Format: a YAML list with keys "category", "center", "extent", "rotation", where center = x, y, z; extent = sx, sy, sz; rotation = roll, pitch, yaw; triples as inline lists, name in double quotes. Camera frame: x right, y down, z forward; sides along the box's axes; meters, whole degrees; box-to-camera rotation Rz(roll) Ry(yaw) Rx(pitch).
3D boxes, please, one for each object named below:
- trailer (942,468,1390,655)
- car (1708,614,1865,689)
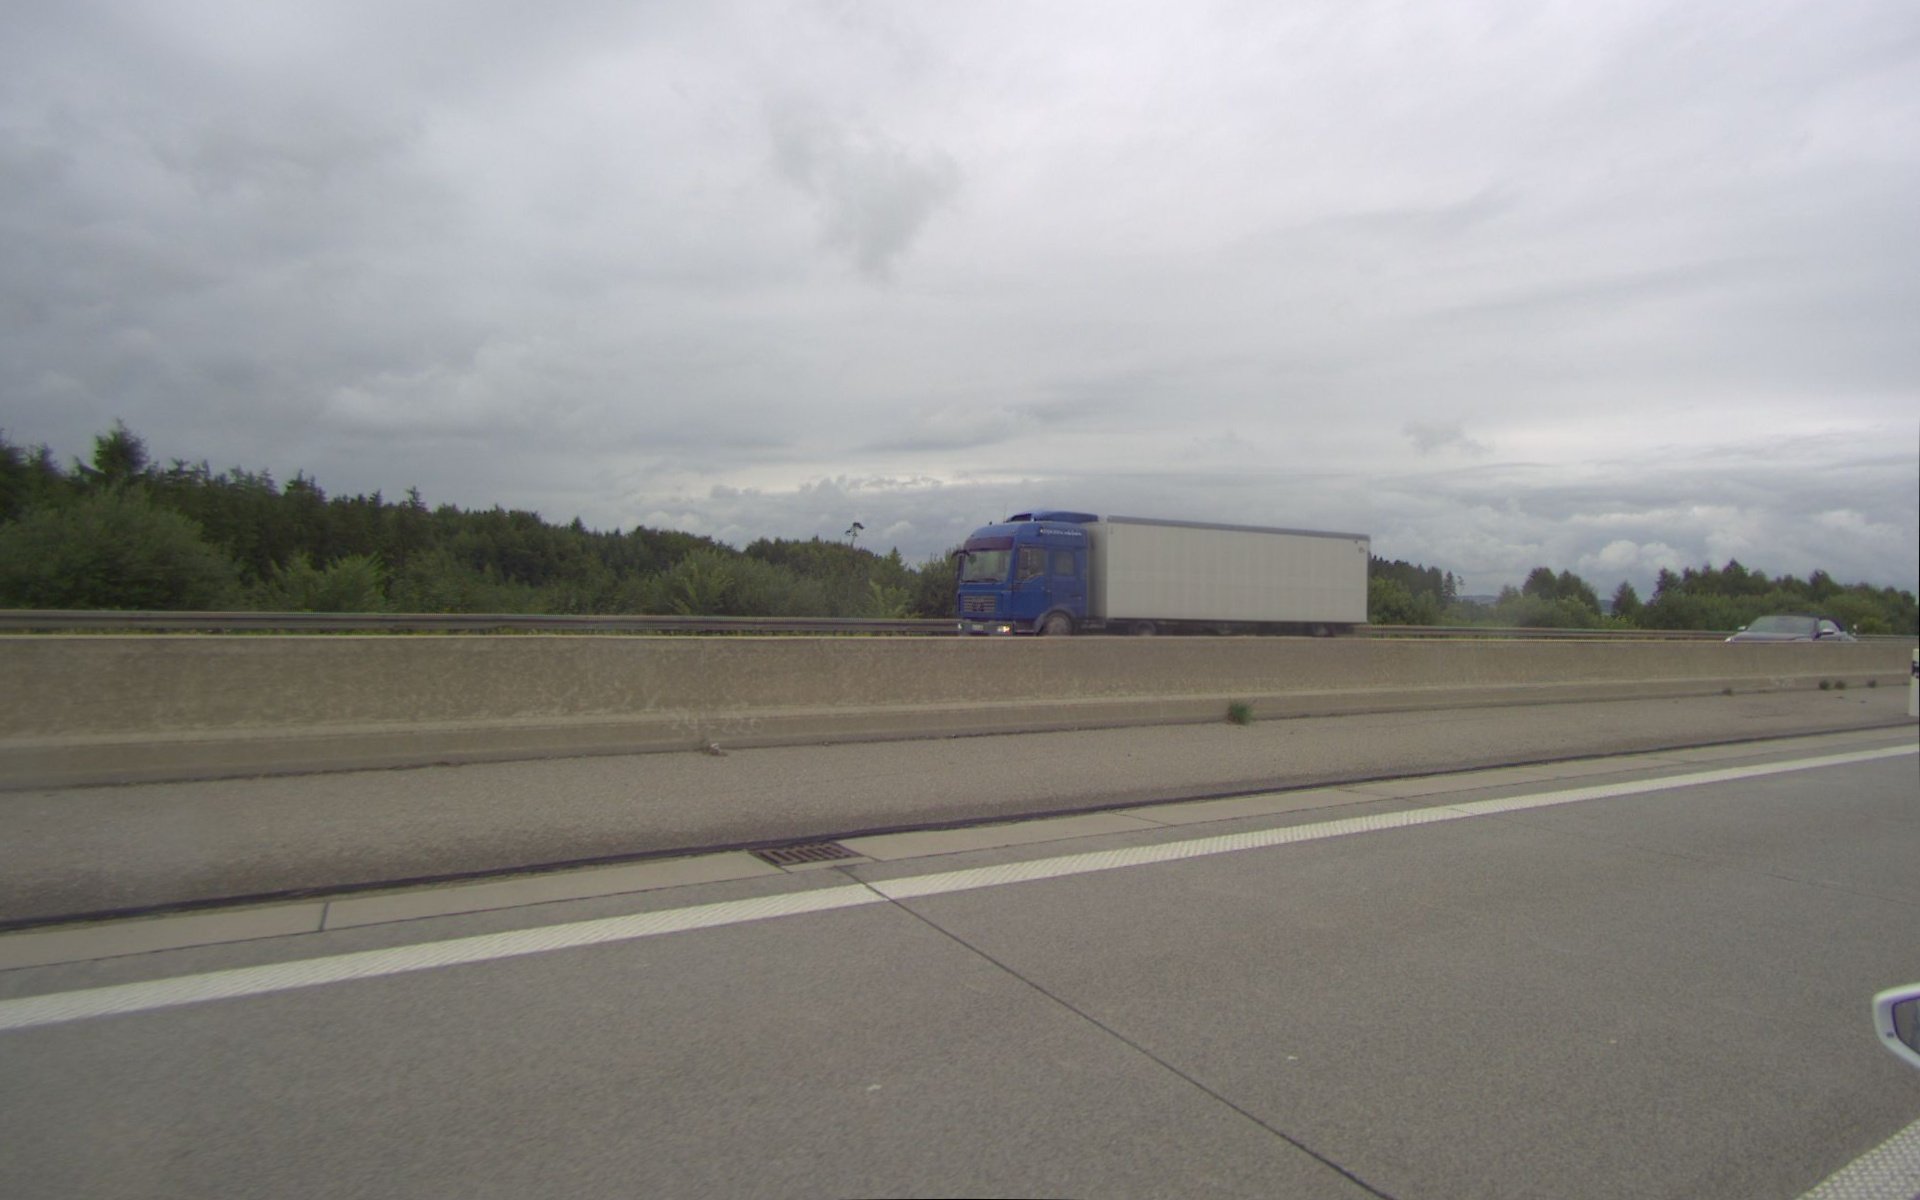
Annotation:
- category: "trailer"
  center: [5.587, -0.720, 25.252]
  extent: [12.252, 3.888, 2.836]
  rotation: [1, 0, -30]
- category: "car"
  center: [20.911, 1.256, 25.417]
  extent: [3.494, 1.706, 1.984]
  rotation: [1, 0, -30]
